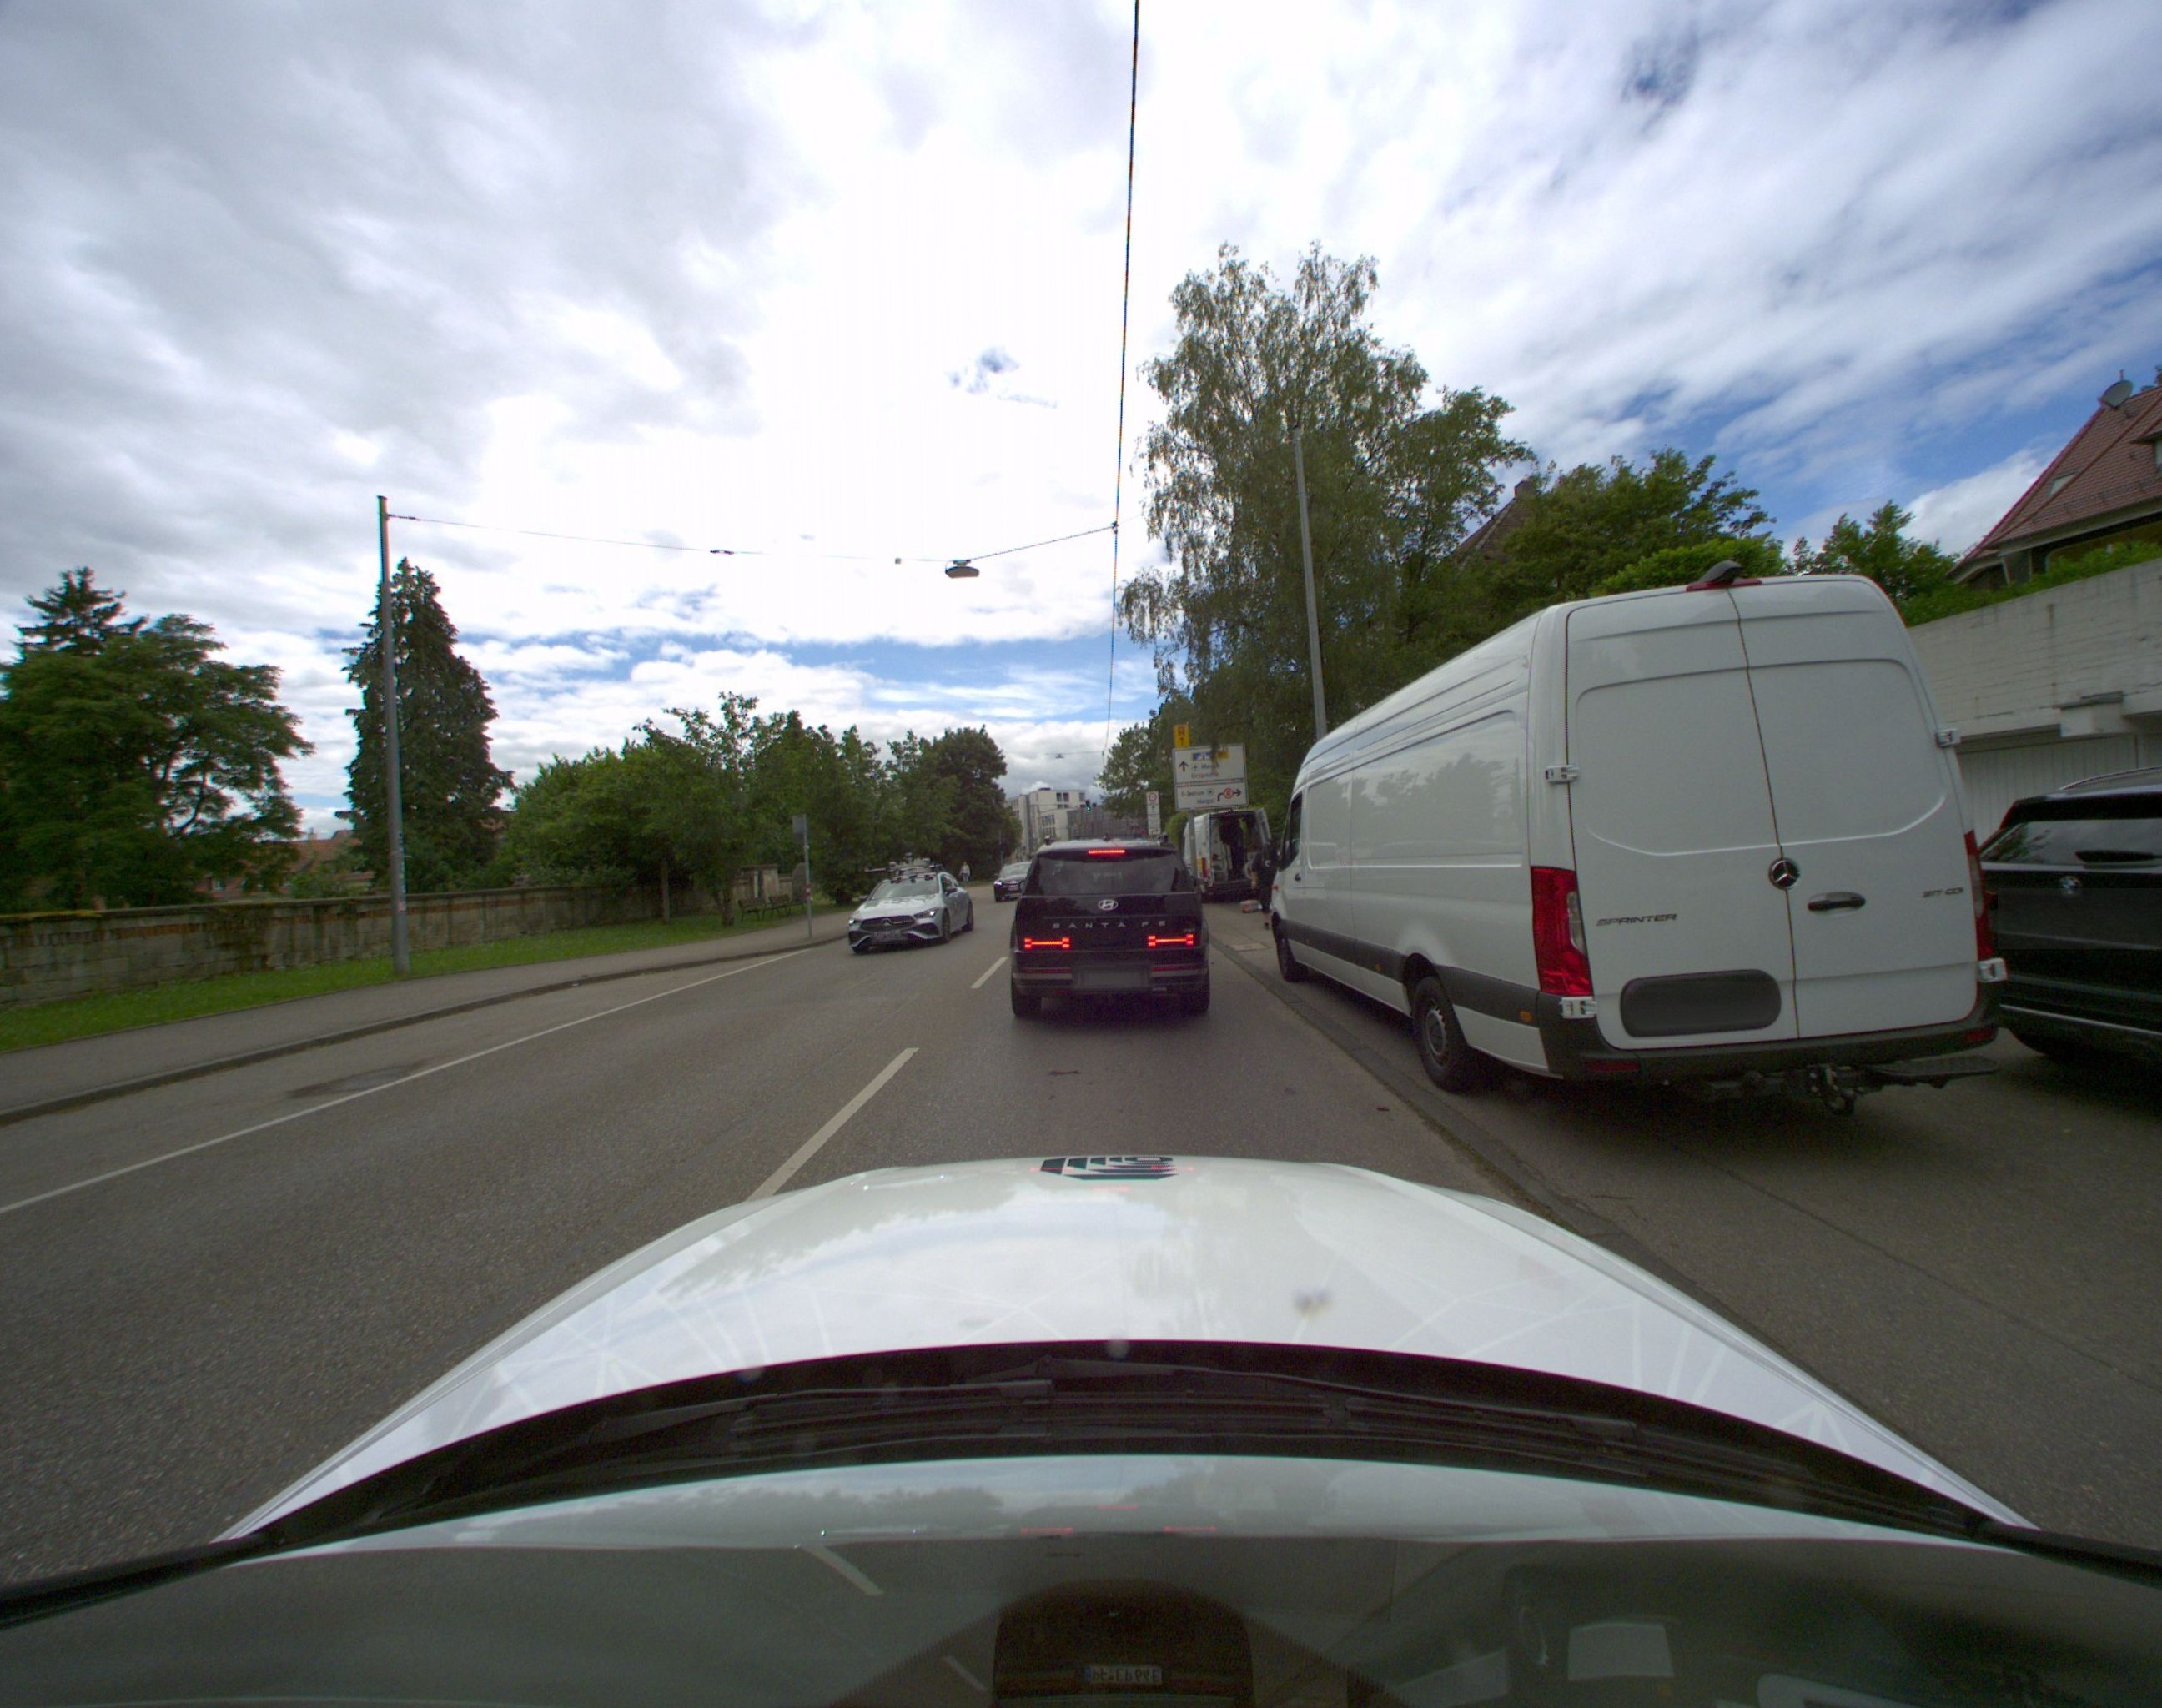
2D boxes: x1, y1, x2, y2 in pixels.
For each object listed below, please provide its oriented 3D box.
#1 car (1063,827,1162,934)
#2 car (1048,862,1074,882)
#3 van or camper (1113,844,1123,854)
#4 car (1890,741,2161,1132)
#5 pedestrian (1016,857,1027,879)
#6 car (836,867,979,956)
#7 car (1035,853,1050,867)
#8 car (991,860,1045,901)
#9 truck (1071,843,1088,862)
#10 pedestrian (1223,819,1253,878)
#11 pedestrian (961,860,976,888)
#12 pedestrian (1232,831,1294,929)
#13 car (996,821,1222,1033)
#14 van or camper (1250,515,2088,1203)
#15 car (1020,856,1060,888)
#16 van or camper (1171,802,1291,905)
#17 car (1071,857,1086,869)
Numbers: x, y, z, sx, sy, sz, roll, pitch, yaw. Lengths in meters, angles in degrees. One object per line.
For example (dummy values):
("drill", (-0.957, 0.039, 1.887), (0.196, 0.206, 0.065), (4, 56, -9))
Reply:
("car", (0.665, 0.527, 17.590), (1.890, 2.042, 3.995), (0, -1, 2))
("car", (-1.631, 1.473, 67.866), (1.808, 1.419, 4.830), (-6, -1, 1))
("van or camper", (7.789, -0.984, 172.235), (1.791, 1.999, 3.821), (0, -1, -2))
("car", (6.785, 0.216, 3.700), (4.365, 1.675, 1.696), (-4, -1, 2))
("pedestrian", (-5.569, 1.326, 76.130), (0.826, 2.014, 1.048), (0, -1, 4))
("car", (-3.400, 1.078, 16.852), (1.750, 1.403, 4.416), (-5, -1, 2))
("car", (-6.818, 1.124, 144.128), (2.328, 2.315, 4.950), (-3, 0, -4))
("car", (-2.582, 1.060, 34.130), (1.695, 1.483, 4.001), (-5, -1, 2))
("truck", (-0.396, -0.362, 180.158), (3.102, 3.859, 9.606), (-3, 0, -4))
("pedestrian", (4.591, -0.158, 23.784), (0.732, 1.643, 0.803), (-4, -1, 11))
("pedestrian", (-7.394, 1.303, 53.348), (0.764, 1.748, 0.905), (-2, -1, 2))
("pedestrian", (3.399, 0.474, 15.174), (0.782, 1.720, 0.757), (-7, -1, 26))
("car", (0.300, 0.637, 8.863), (1.890, 1.776, 3.995), (0, -1, 2))
("van or camper", (3.069, 0.046, 6.607), (1.984, 2.625, 6.546), (-6, -1, 2))
("car", (-2.353, 1.025, 47.571), (1.873, 1.644, 4.129), (-6, -1, 1))
("van or camper", (4.347, 0.046, 24.964), (2.332, 2.494, 6.603), (-6, -1, 1))
("car", (-0.306, 1.310, 114.527), (1.831, 1.538, 4.269), (-3, 0, 2))
